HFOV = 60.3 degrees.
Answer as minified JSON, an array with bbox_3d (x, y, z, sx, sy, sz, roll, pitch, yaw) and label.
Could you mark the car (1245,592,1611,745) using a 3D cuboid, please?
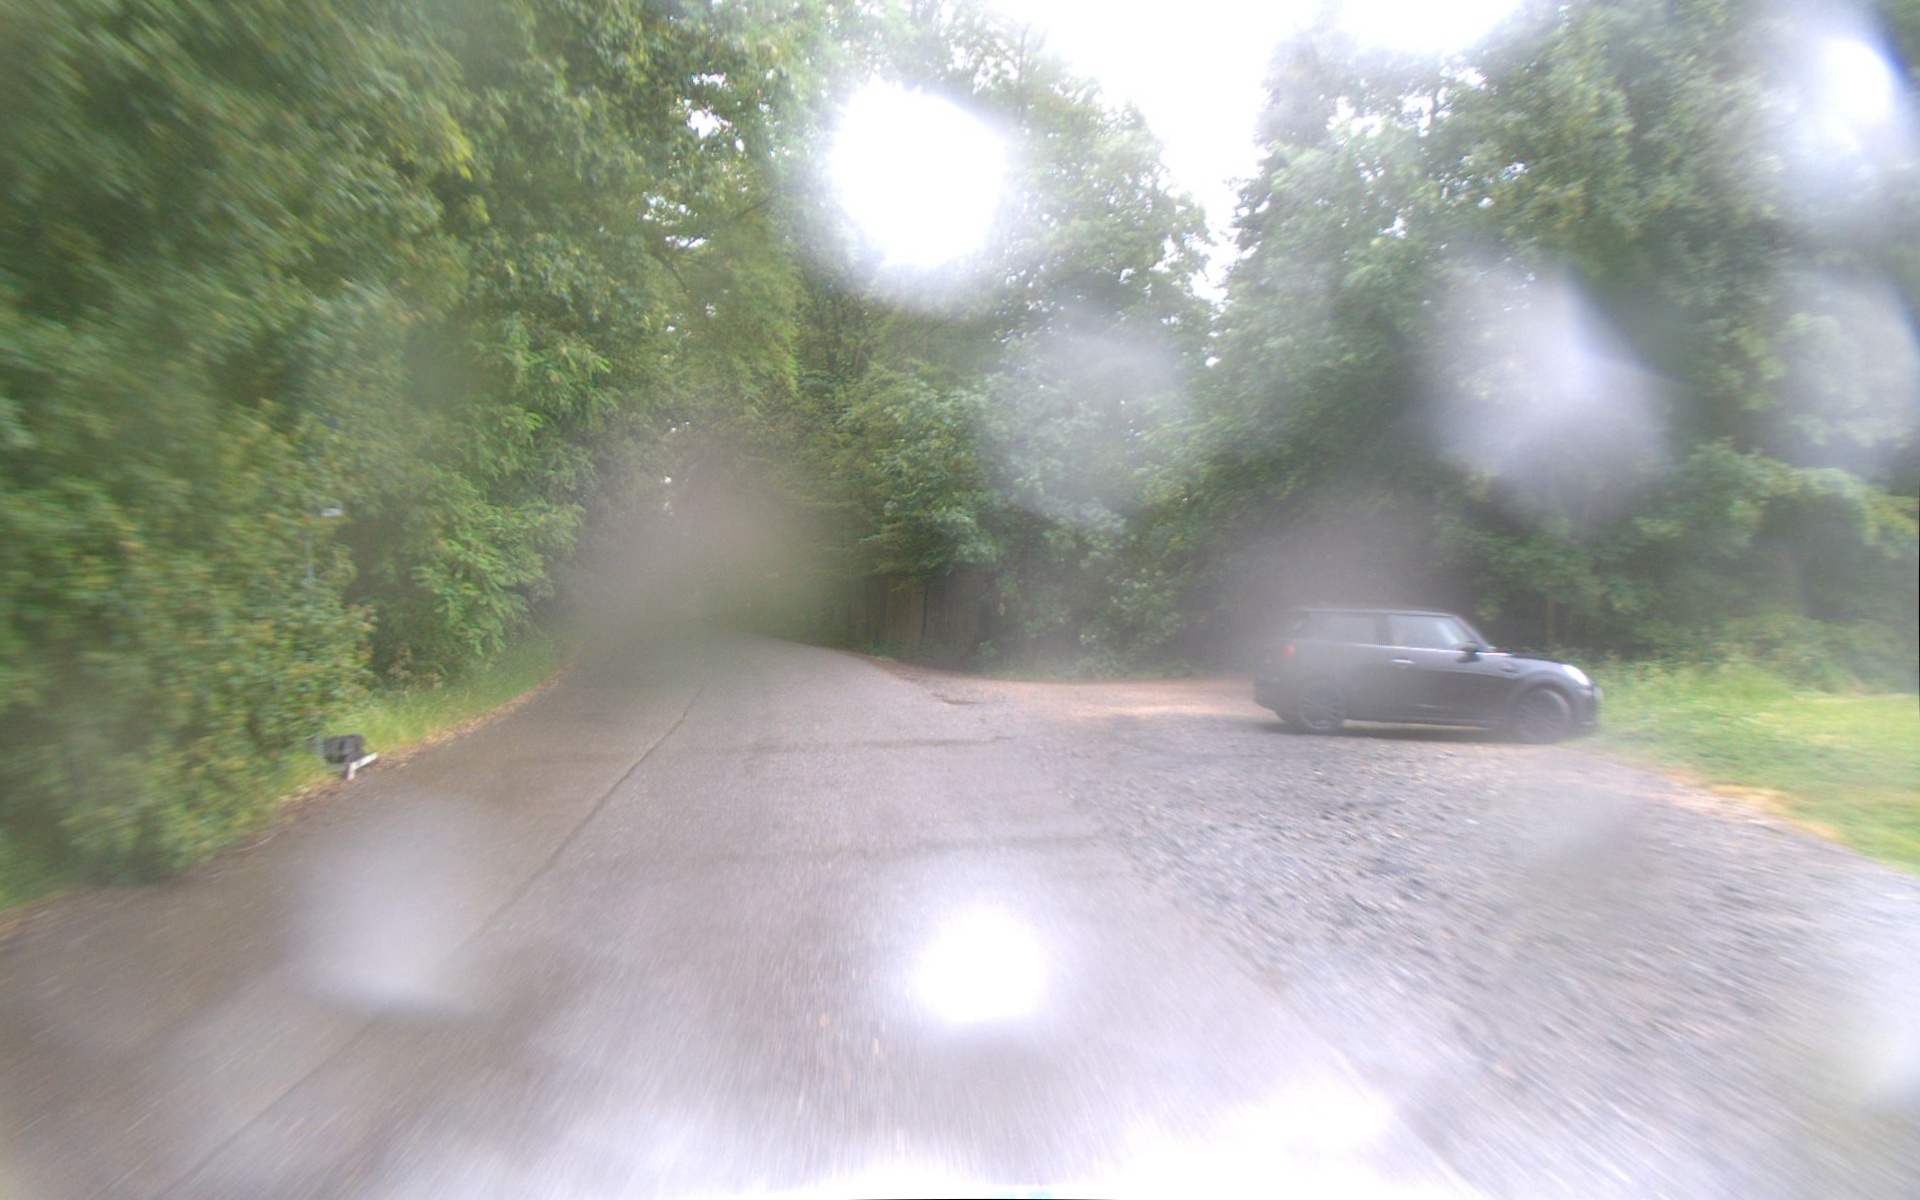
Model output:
[{"bbox_3d":[5.220,0.743,18.778,3.631,1.461,1.707,3,0,1],"label":"car"}]
